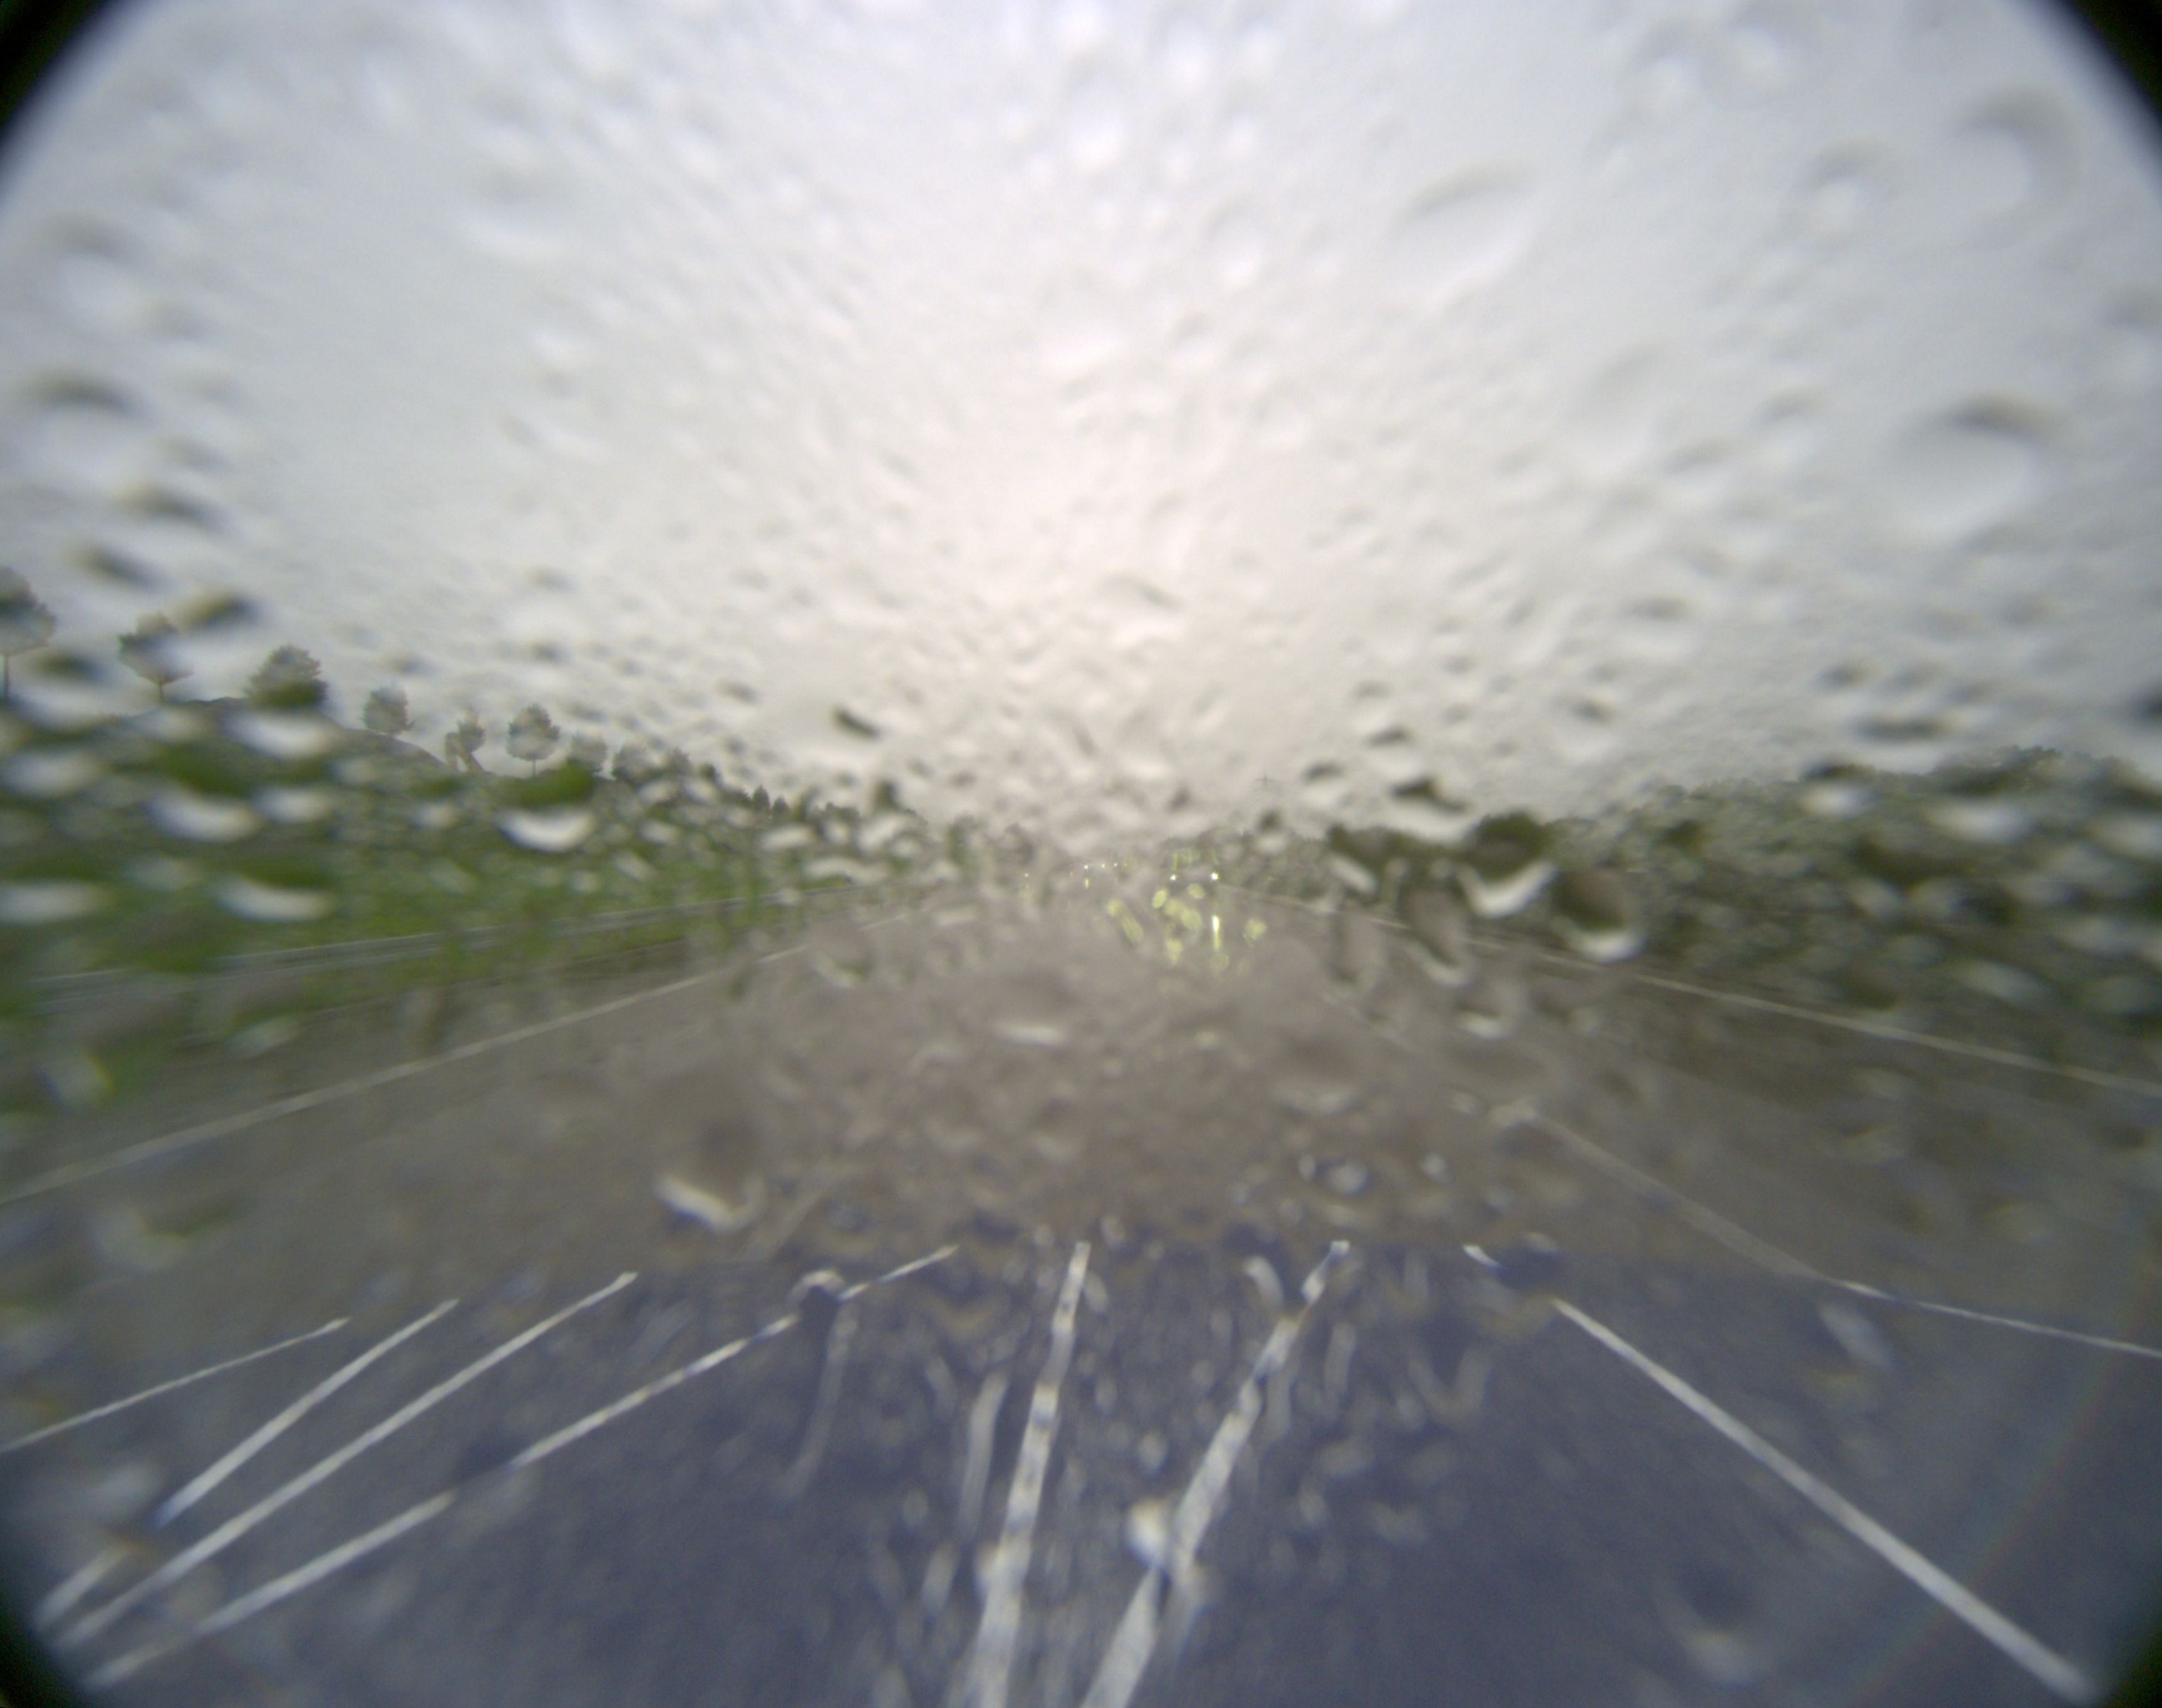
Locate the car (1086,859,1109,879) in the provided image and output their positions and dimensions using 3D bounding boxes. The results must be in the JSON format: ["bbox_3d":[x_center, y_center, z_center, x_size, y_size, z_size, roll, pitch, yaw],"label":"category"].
[{"bbox_3d":[1.360,1.217,62.338,1.753,1.406,4.000,-3,0,1],"label":"car"}]

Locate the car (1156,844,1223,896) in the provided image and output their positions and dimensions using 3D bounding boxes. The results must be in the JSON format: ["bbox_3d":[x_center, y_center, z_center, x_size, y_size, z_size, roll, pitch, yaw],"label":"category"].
[{"bbox_3d":[4.050,0.555,28.941,2.047,1.763,4.500,-2,1,3],"label":"car"}]

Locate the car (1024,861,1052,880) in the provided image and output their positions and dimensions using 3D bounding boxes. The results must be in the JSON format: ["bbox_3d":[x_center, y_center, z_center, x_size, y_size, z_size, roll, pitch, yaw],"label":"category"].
[{"bbox_3d":[-3.226,1.234,57.704,1.753,1.205,4.000,-3,0,1],"label":"car"}]

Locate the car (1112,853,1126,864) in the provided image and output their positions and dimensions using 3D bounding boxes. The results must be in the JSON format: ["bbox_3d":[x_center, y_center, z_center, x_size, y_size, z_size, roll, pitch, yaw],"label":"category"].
[{"bbox_3d":[5.114,0.566,102.504,1.753,1.369,4.000,-3,0,1],"label":"car"}]

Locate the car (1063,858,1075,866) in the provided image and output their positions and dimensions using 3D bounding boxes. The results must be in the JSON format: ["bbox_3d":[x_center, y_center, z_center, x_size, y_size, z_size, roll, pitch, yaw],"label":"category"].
[{"bbox_3d":[-1.889,1.230,118.589,1.753,1.205,4.000,-3,0,1],"label":"car"}]
